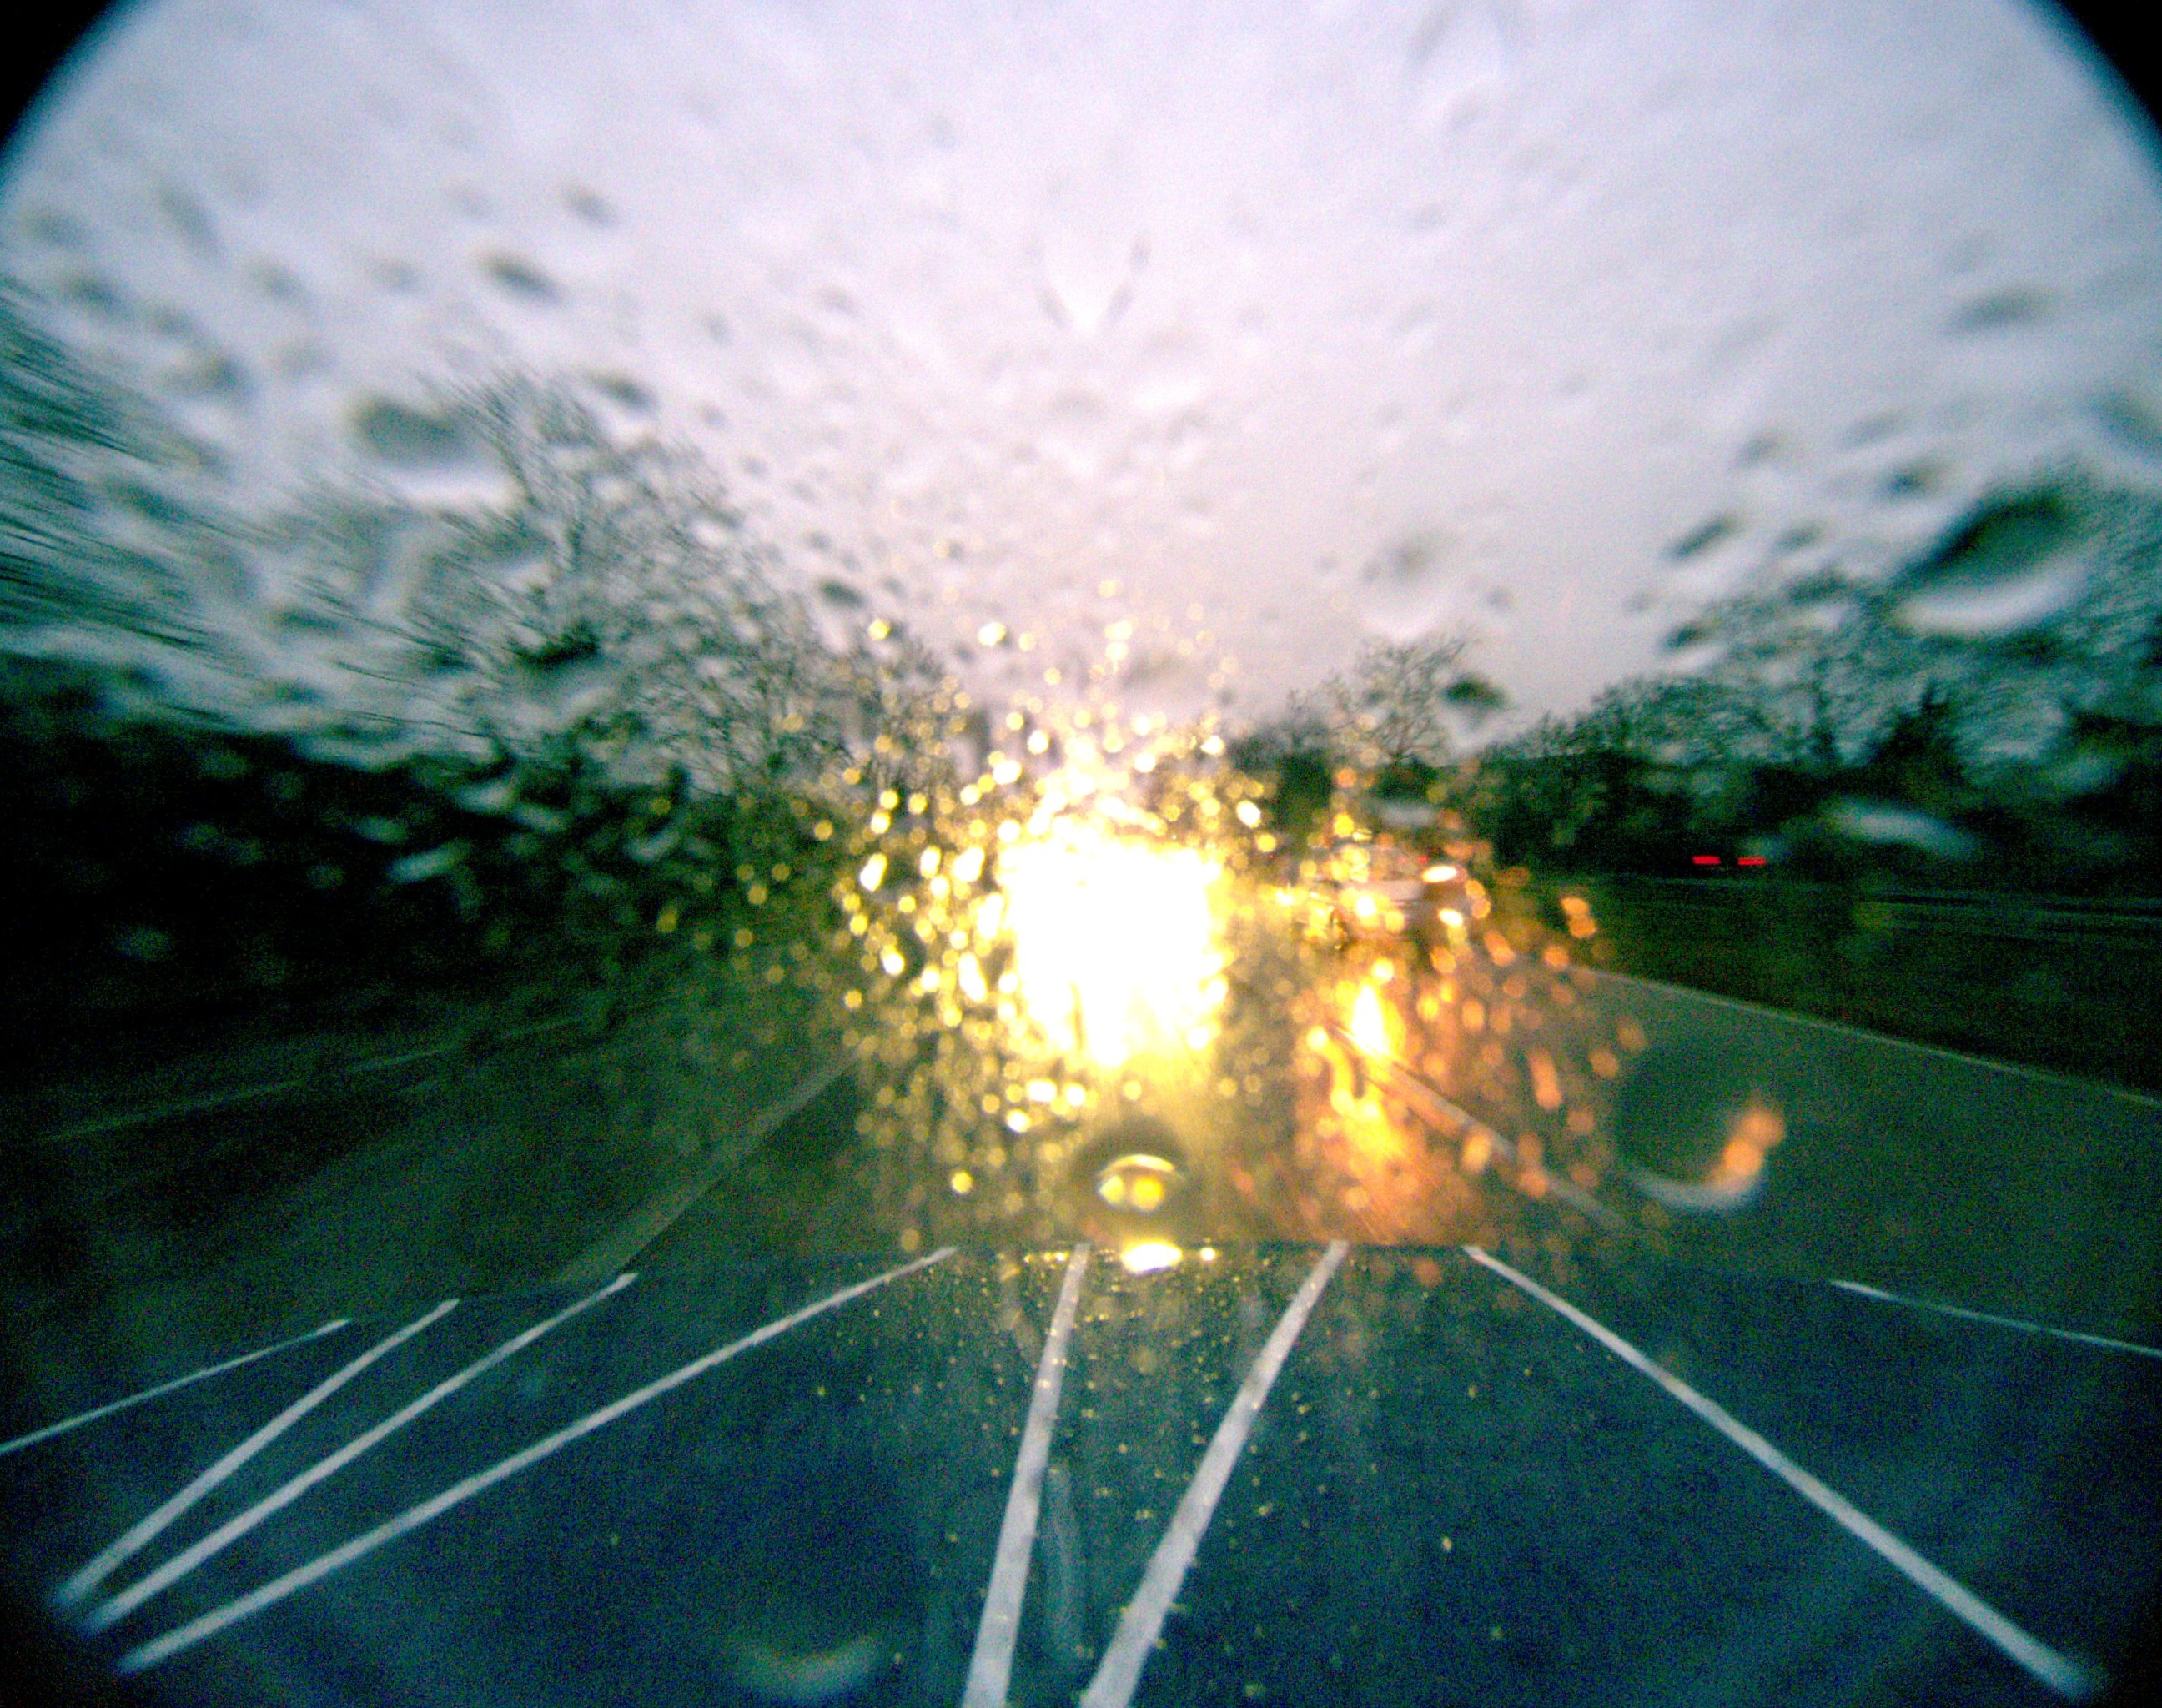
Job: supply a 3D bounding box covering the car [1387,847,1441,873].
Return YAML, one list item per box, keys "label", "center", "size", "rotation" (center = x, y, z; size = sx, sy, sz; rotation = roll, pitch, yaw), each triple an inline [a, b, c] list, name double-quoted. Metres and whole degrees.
- label: "car"
  center: [20.970, 0.366, 48.023]
  size: [1.787, 1.524, 4.379]
  rotation: [-1, 1, 5]

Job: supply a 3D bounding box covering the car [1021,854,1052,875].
- label: "car"
  center: [-3.200, 0.727, 55.346]
  size: [1.728, 1.426, 3.791]
  rotation: [-1, 1, 4]

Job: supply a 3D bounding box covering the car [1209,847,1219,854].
- label: "car"
  center: [29.442, -0.855, 167.999]
  size: [1.787, 1.524, 4.378]
  rotation: [-1, 1, 4]

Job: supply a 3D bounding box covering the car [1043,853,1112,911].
- label: "car"
  center: [-0.028, 0.788, 23.365]
  size: [1.830, 1.524, 4.000]
  rotation: [-1, 1, 4]

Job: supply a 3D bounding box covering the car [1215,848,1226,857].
- label: "car"
  center: [27.561, -0.279, 150.028]
  size: [1.621, 1.672, 3.982]
  rotation: [-1, 0, 4]

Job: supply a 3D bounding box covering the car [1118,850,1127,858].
- label: "car"
  center: [9.776, -0.022, 178.107]
  size: [1.998, 1.605, 4.000]
  rotation: [-1, 0, 2]

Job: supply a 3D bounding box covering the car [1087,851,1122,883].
- label: "car"
  center: [1.304, 0.652, 40.879]
  size: [1.728, 1.573, 3.791]
  rotation: [-1, 1, 4]

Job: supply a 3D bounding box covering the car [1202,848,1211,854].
- label: "car"
  center: [30.252, -0.627, 183.491]
  size: [1.652, 1.346, 3.957]
  rotation: [-1, 1, 4]

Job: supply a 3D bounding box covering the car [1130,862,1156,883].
- label: "car"
  center: [4.431, 1.302, 54.728]
  size: [1.696, 1.327, 4.000]
  rotation: [-2, 1, 3]

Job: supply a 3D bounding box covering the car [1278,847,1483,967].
- label: "car"
  center: [4.654, 0.711, 12.515]
  size: [1.766, 1.590, 4.164]
  rotation: [-1, 1, 1]

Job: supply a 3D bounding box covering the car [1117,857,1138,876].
- label: "car"
  center: [4.470, 1.176, 72.763]
  size: [1.852, 1.610, 3.952]
  rotation: [-2, 1, 4]

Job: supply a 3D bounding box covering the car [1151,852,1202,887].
- label: "car"
  center: [4.533, 0.707, 36.607]
  size: [2.026, 1.522, 4.145]
  rotation: [-1, 1, 2]

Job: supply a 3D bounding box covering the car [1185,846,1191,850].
- label: "car"
  center: [33.003, -1.800, 233.858]
  size: [1.540, 1.320, 3.957]
  rotation: [-1, 1, 4]

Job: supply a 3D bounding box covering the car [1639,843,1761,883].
- label: "car"
  center: [26.748, 0.331, 33.075]
  size: [1.787, 1.599, 4.683]
  rotation: [-1, 1, 5]
